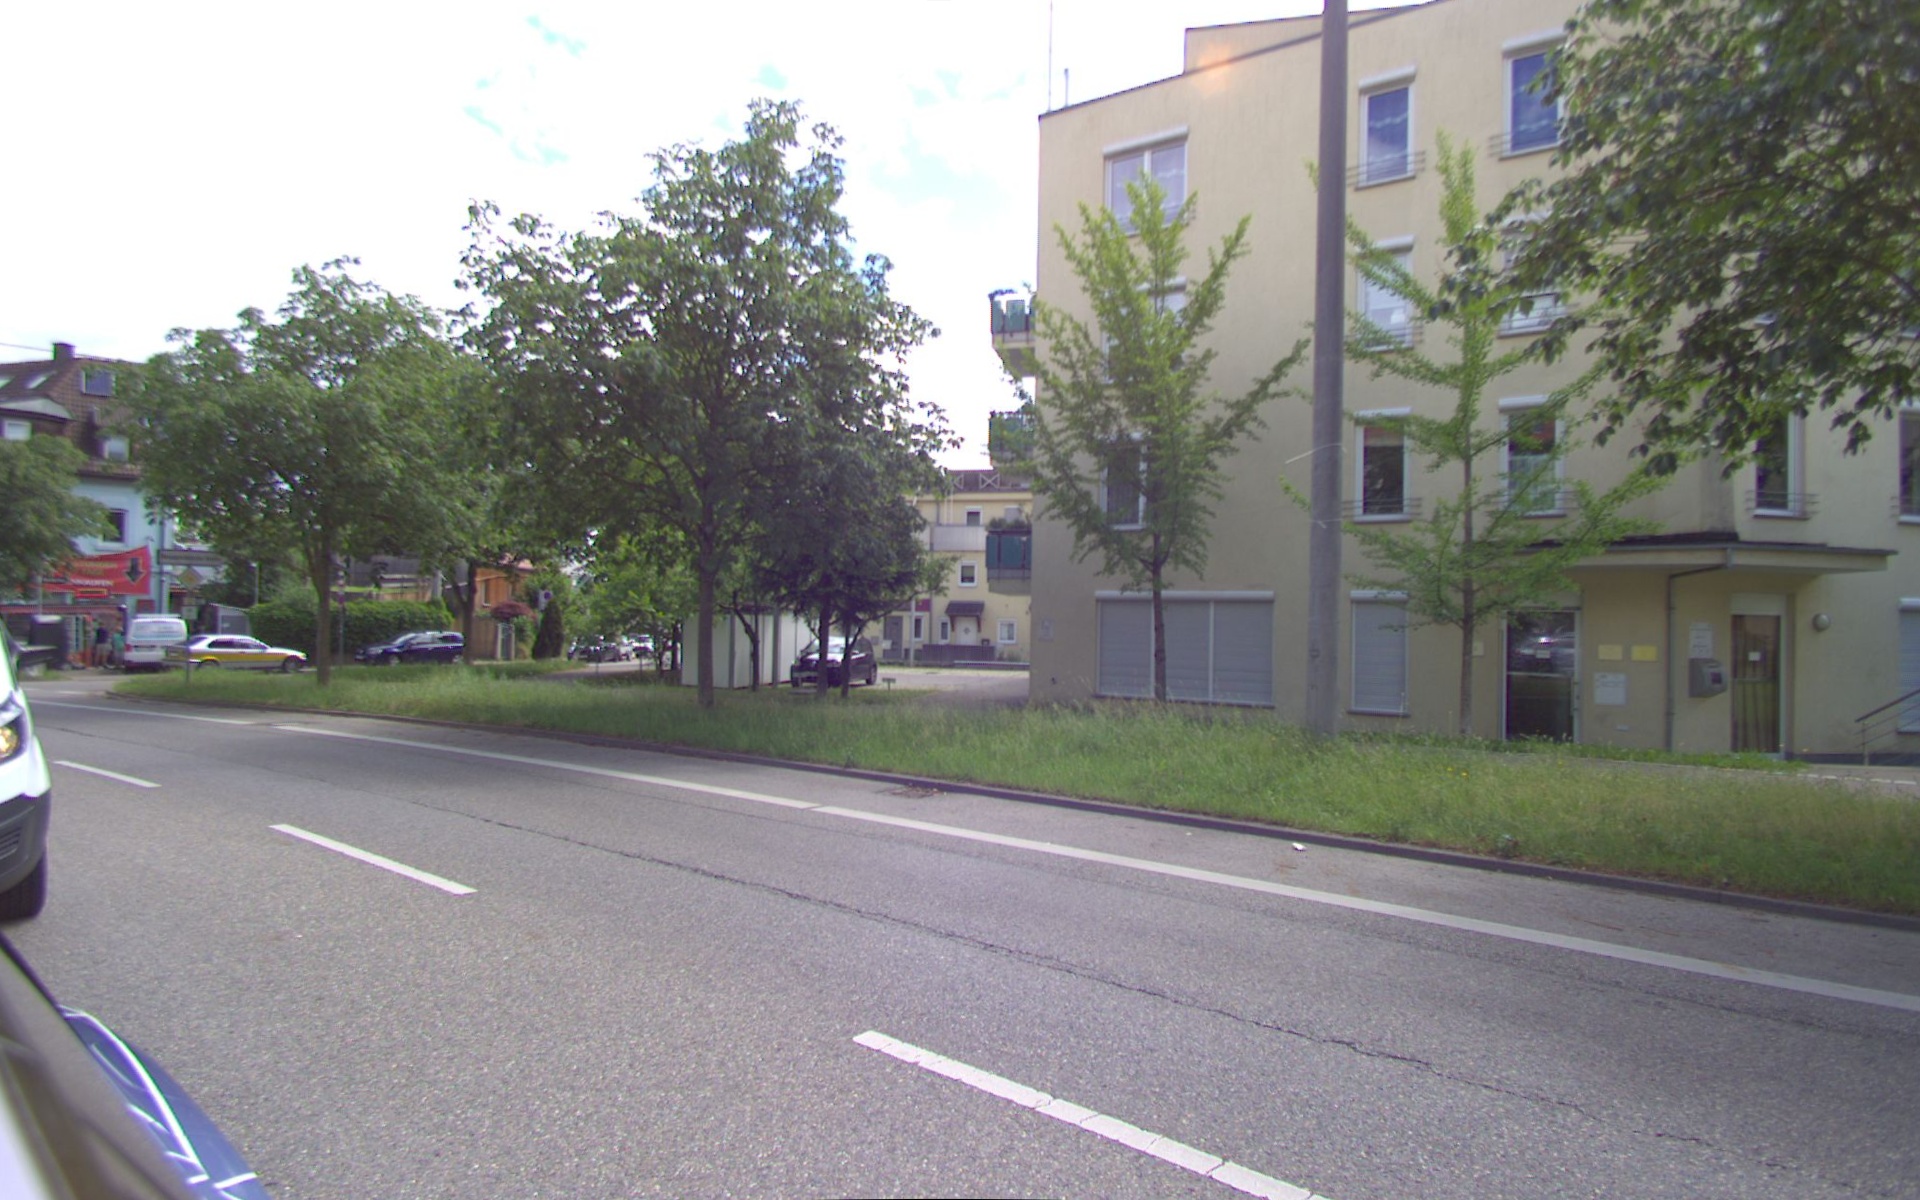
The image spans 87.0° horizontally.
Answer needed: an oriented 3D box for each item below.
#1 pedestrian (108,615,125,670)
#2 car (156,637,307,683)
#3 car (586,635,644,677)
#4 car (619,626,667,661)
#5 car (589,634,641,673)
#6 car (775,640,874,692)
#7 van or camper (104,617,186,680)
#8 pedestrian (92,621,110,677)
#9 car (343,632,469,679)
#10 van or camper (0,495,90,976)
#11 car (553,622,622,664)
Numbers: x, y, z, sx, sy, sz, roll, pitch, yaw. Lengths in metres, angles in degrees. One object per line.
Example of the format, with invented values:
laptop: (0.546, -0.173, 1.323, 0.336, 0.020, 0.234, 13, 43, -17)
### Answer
pedestrian: (-31.228, 1.563, 37.468, 0.443, 2.005, 0.378, -1, 0, 41)
car: (-25.076, 2.021, 34.991, 1.529, 1.332, 4.008, -1, 0, 27)
car: (-18.612, 2.986, 54.746, 1.970, 2.029, 4.003, -1, 0, -3)
car: (-19.973, 2.710, 63.889, 1.870, 2.029, 4.002, -1, 0, -2)
car: (-20.058, 3.073, 58.937, 1.969, 2.029, 4.005, -1, 0, -5)
car: (-3.880, 1.882, 29.663, 1.774, 1.431, 3.987, -1, -2, 10)
van or camper: (-29.347, 1.681, 36.414, 3.811, 2.105, 1.770, -1, 0, 43)
pedestrian: (-31.528, 1.785, 37.140, 0.363, 2.029, 0.419, -1, 0, 41)
car: (-21.493, 2.117, 39.366, 1.715, 1.695, 3.928, -1, -2, 37)
van or camper: (-6.454, 0.600, 5.384, 5.099, 2.029, 2.001, -2, -3, 41)
car: (-18.593, 2.147, 50.696, 1.954, 2.029, 3.998, 0, -2, 1)
